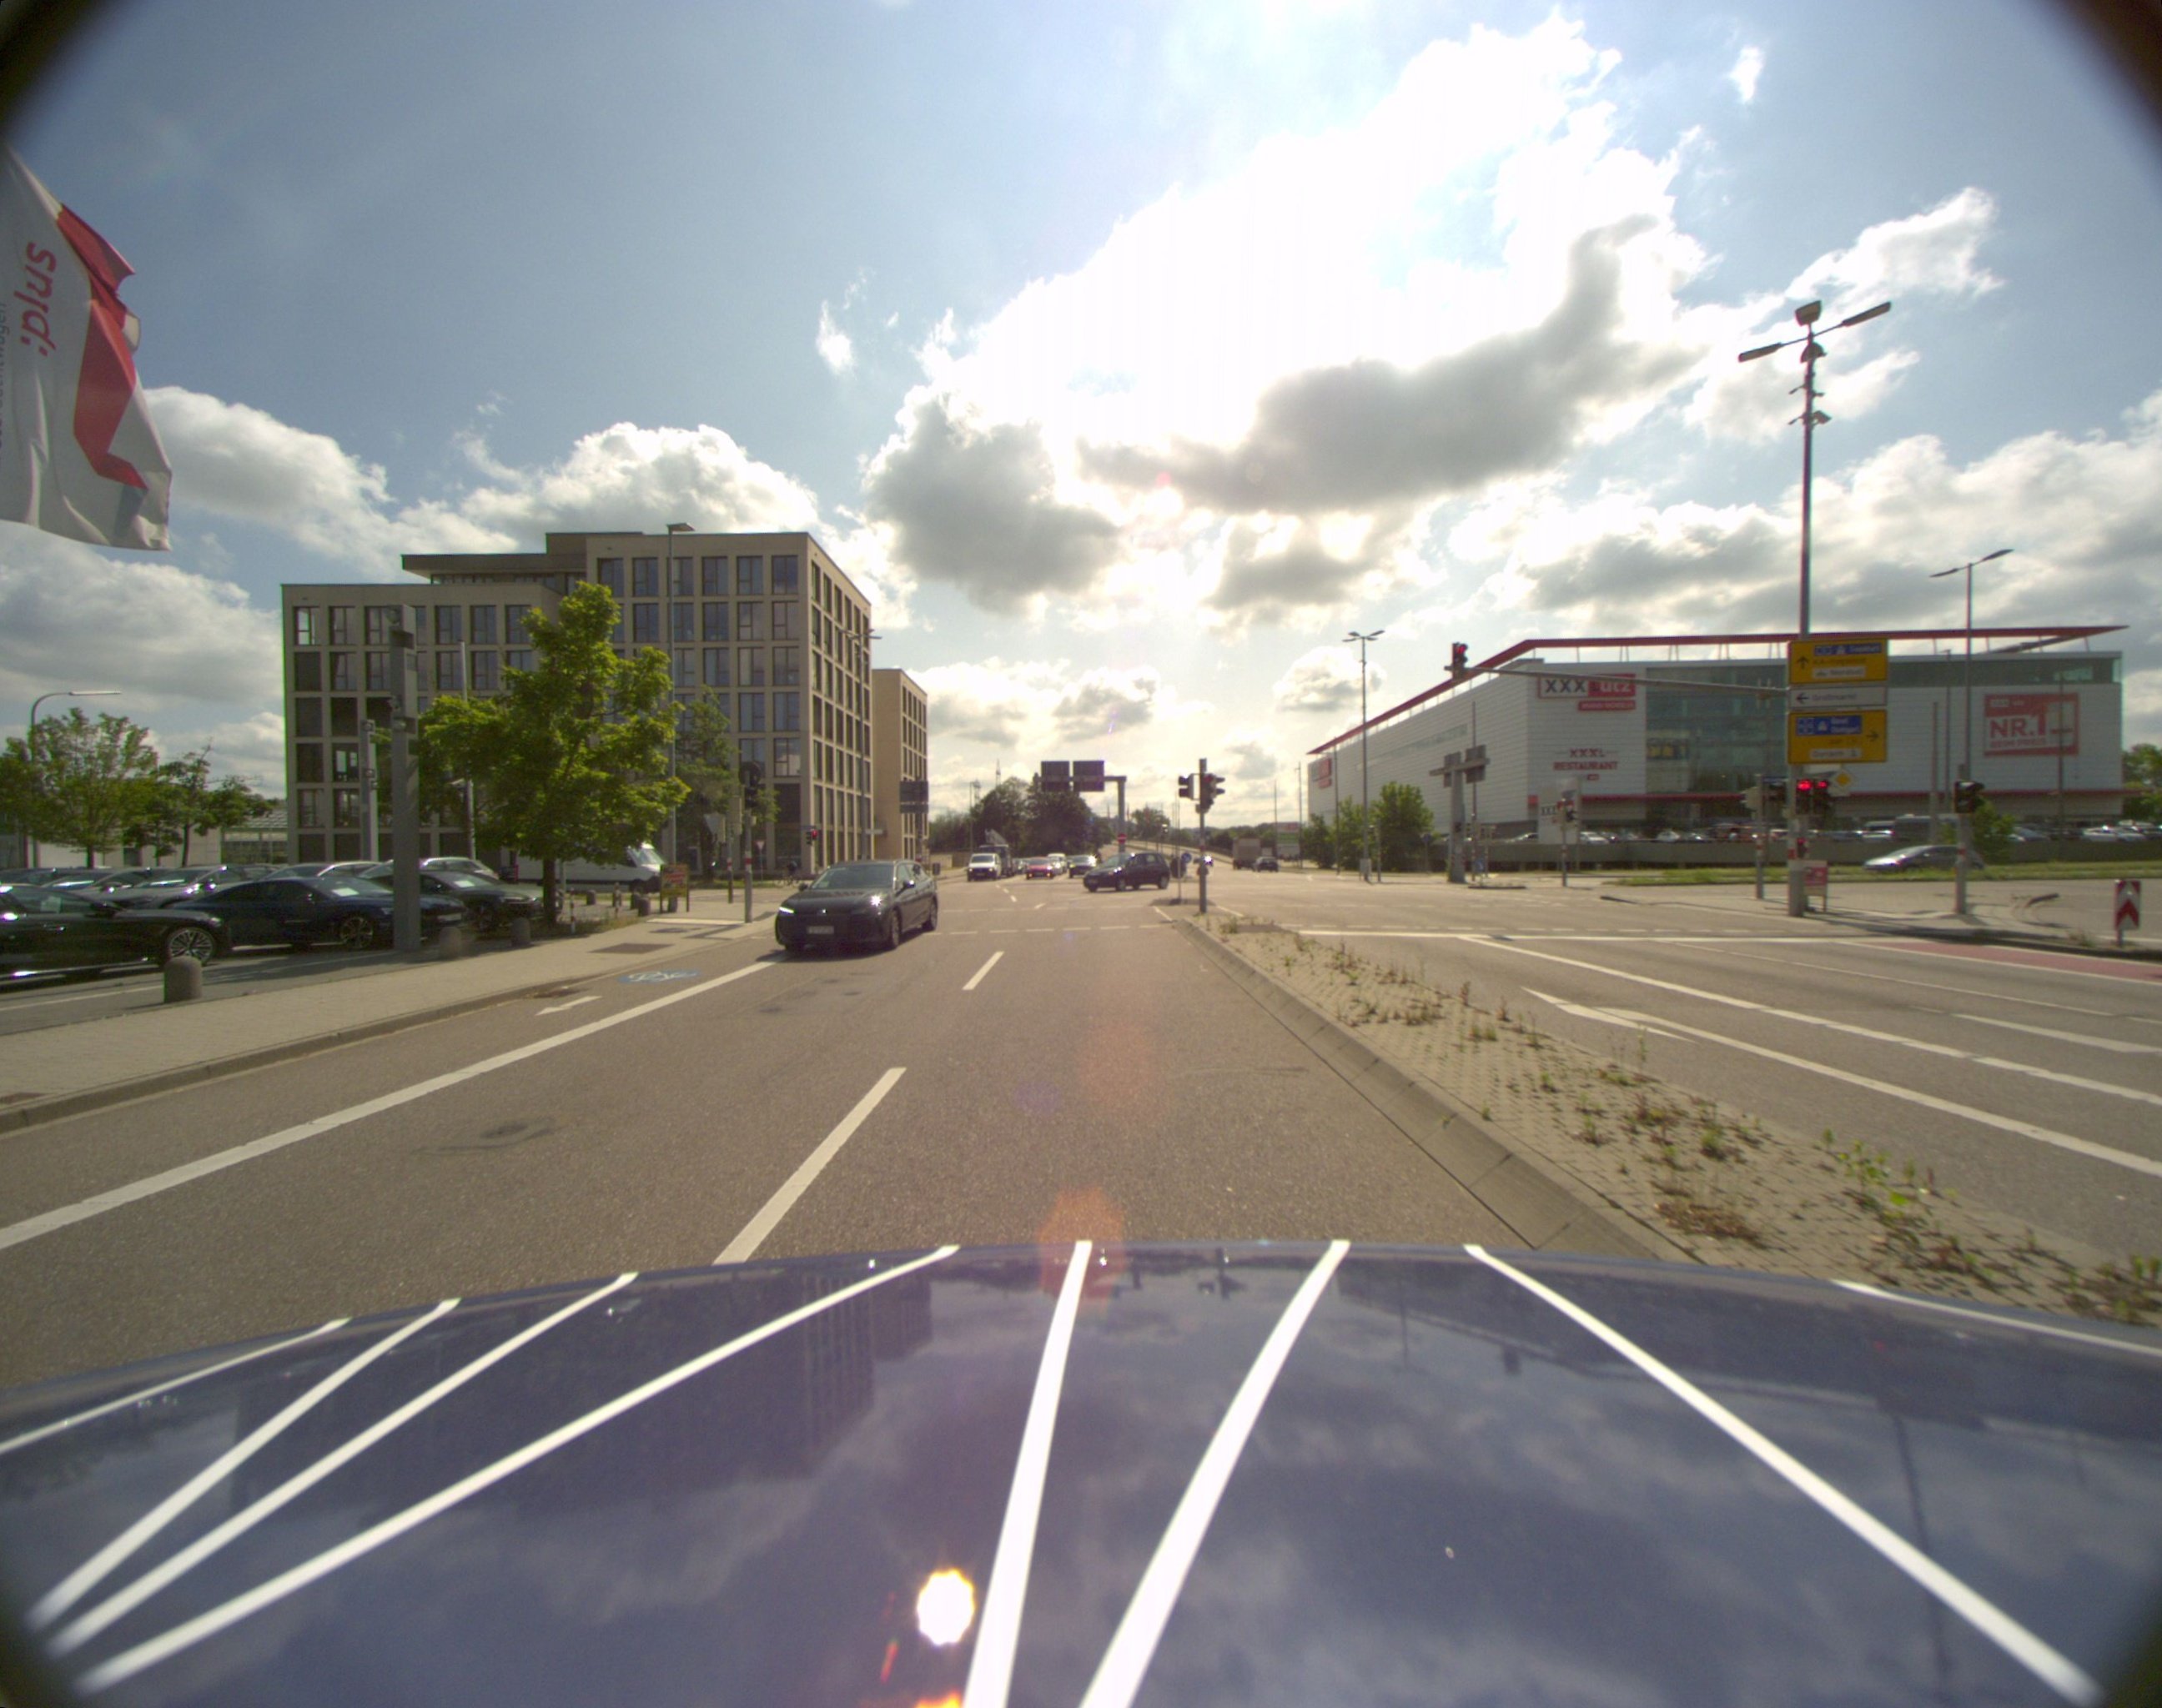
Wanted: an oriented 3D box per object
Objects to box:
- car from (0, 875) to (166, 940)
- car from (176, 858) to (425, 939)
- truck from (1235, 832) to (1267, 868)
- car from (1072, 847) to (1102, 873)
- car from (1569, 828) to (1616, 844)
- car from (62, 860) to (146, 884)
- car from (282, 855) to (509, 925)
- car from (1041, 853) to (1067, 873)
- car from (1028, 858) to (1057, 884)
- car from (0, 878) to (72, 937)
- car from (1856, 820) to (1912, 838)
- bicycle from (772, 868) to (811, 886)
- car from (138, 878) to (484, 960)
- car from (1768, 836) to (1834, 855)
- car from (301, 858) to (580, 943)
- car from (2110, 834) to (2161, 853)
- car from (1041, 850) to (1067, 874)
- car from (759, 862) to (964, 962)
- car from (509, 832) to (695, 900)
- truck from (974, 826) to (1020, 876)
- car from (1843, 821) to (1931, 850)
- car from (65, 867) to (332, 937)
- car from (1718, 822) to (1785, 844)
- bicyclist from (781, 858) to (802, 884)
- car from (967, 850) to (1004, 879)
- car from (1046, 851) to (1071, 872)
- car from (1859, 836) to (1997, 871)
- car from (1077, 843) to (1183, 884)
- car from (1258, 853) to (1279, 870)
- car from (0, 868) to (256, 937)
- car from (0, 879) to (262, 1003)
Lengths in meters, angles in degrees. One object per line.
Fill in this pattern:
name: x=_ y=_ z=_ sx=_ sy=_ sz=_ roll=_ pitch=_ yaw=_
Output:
car: x=-29.186 y=1.467 z=21.097 sx=1.905 sy=1.668 sz=4.591 roll=-2 pitch=-1 yaw=2
car: x=-21.225 y=1.116 z=21.031 sx=1.905 sy=1.669 sz=4.587 roll=-2 pitch=3 yaw=2
truck: x=20.401 y=-0.416 z=91.717 sx=3.218 sy=4.003 sz=9.079 roll=-2 pitch=-1 yaw=10
car: x=0.361 y=0.417 z=51.211 sx=1.827 sy=1.617 sz=4.212 roll=-2 pitch=-1 yaw=-2
car: x=53.505 y=-1.833 z=79.583 sx=1.953 sy=1.462 sz=4.424 roll=-1 pitch=0 yaw=1
car: x=-76.903 y=1.414 z=59.856 sx=3.997 sy=1.674 sz=2.000 roll=-2 pitch=-1 yaw=0
car: x=-18.445 y=0.924 z=20.812 sx=1.905 sy=1.668 sz=4.591 roll=-2 pitch=-1 yaw=2
car: x=-2.244 y=0.772 z=63.322 sx=1.826 sy=1.617 sz=4.213 roll=-2 pitch=-1 yaw=2
car: x=-2.541 y=1.114 z=50.816 sx=1.827 sy=1.617 sz=4.212 roll=-2 pitch=-1 yaw=-2
car: x=-32.024 y=1.563 z=21.061 sx=1.905 sy=1.668 sz=4.591 roll=-2 pitch=-1 yaw=2
car: x=86.627 y=-2.654 z=82.031 sx=1.914 sy=1.739 sz=4.002 roll=-2 pitch=-1 yaw=4
bicycle: x=-16.760 y=1.318 z=43.957 sx=1.976 sy=1.005 sz=0.649 roll=-2 pitch=-1 yaw=0
car: x=-14.324 y=1.177 z=14.340 sx=4.586 sy=1.289 sz=1.907 roll=-2 pitch=-1 yaw=0
car: x=64.886 y=-0.760 z=68.576 sx=1.953 sy=1.596 sz=4.425 roll=-1 pitch=0 yaw=4
car: x=-14.125 y=1.003 z=16.955 sx=4.586 sy=1.668 sz=1.907 roll=-2 pitch=-1 yaw=0
car: x=92.179 y=-0.916 z=65.177 sx=1.953 sy=1.596 sz=4.425 roll=-1 pitch=0 yaw=4
car: x=-1.953 y=0.622 z=56.567 sx=1.827 sy=1.617 sz=4.212 roll=-2 pitch=-1 yaw=-1
car: x=-3.735 y=0.912 z=14.102 sx=1.812 sy=1.469 sz=5.207 roll=-1 pitch=0 yaw=6
car: x=-20.341 y=0.525 z=32.375 sx=6.854 sy=2.591 sz=2.141 roll=-2 pitch=-1 yaw=7
truck: x=-6.390 y=-0.103 z=59.181 sx=2.673 sy=3.533 sz=9.783 roll=-2 pitch=-1 yaw=-2
car: x=72.001 y=-1.625 z=68.002 sx=1.748 sy=2.269 sz=5.800 roll=-2 pitch=-1 yaw=1
car: x=-23.939 y=1.224 z=20.955 sx=1.905 sy=1.668 sz=4.591 roll=-2 pitch=-1 yaw=2
car: x=60.162 y=-1.888 z=68.269 sx=1.916 sy=1.739 sz=4.186 roll=-2 pitch=-1 yaw=-9
bicyclist: x=-16.734 y=0.981 z=43.950 sx=0.915 sy=1.468 sz=0.638 roll=-2 pitch=-1 yaw=-1
car: x=-6.387 y=0.705 z=51.545 sx=1.999 sy=1.826 sz=4.992 roll=-2 pitch=-1 yaw=-2
car: x=-2.000 y=0.705 z=69.114 sx=1.826 sy=1.826 sz=4.448 roll=-2 pitch=-1 yaw=4
car: x=38.323 y=-0.015 z=34.467 sx=4.265 sy=1.521 sz=1.608 roll=-1 pitch=0 yaw=4
car: x=2.004 y=0.387 z=30.091 sx=4.279 sy=1.521 sz=1.603 roll=1 pitch=0 yaw=-41
car: x=18.002 y=0.702 z=72.904 sx=1.776 sy=1.469 sz=4.685 roll=-1 pitch=0 yaw=16
car: x=-26.423 y=1.264 z=21.085 sx=1.905 sy=1.668 sz=4.591 roll=-2 pitch=-1 yaw=2
car: x=-14.682 y=1.229 z=10.302 sx=1.794 sy=1.455 sz=4.756 roll=-4 pitch=1 yaw=2
